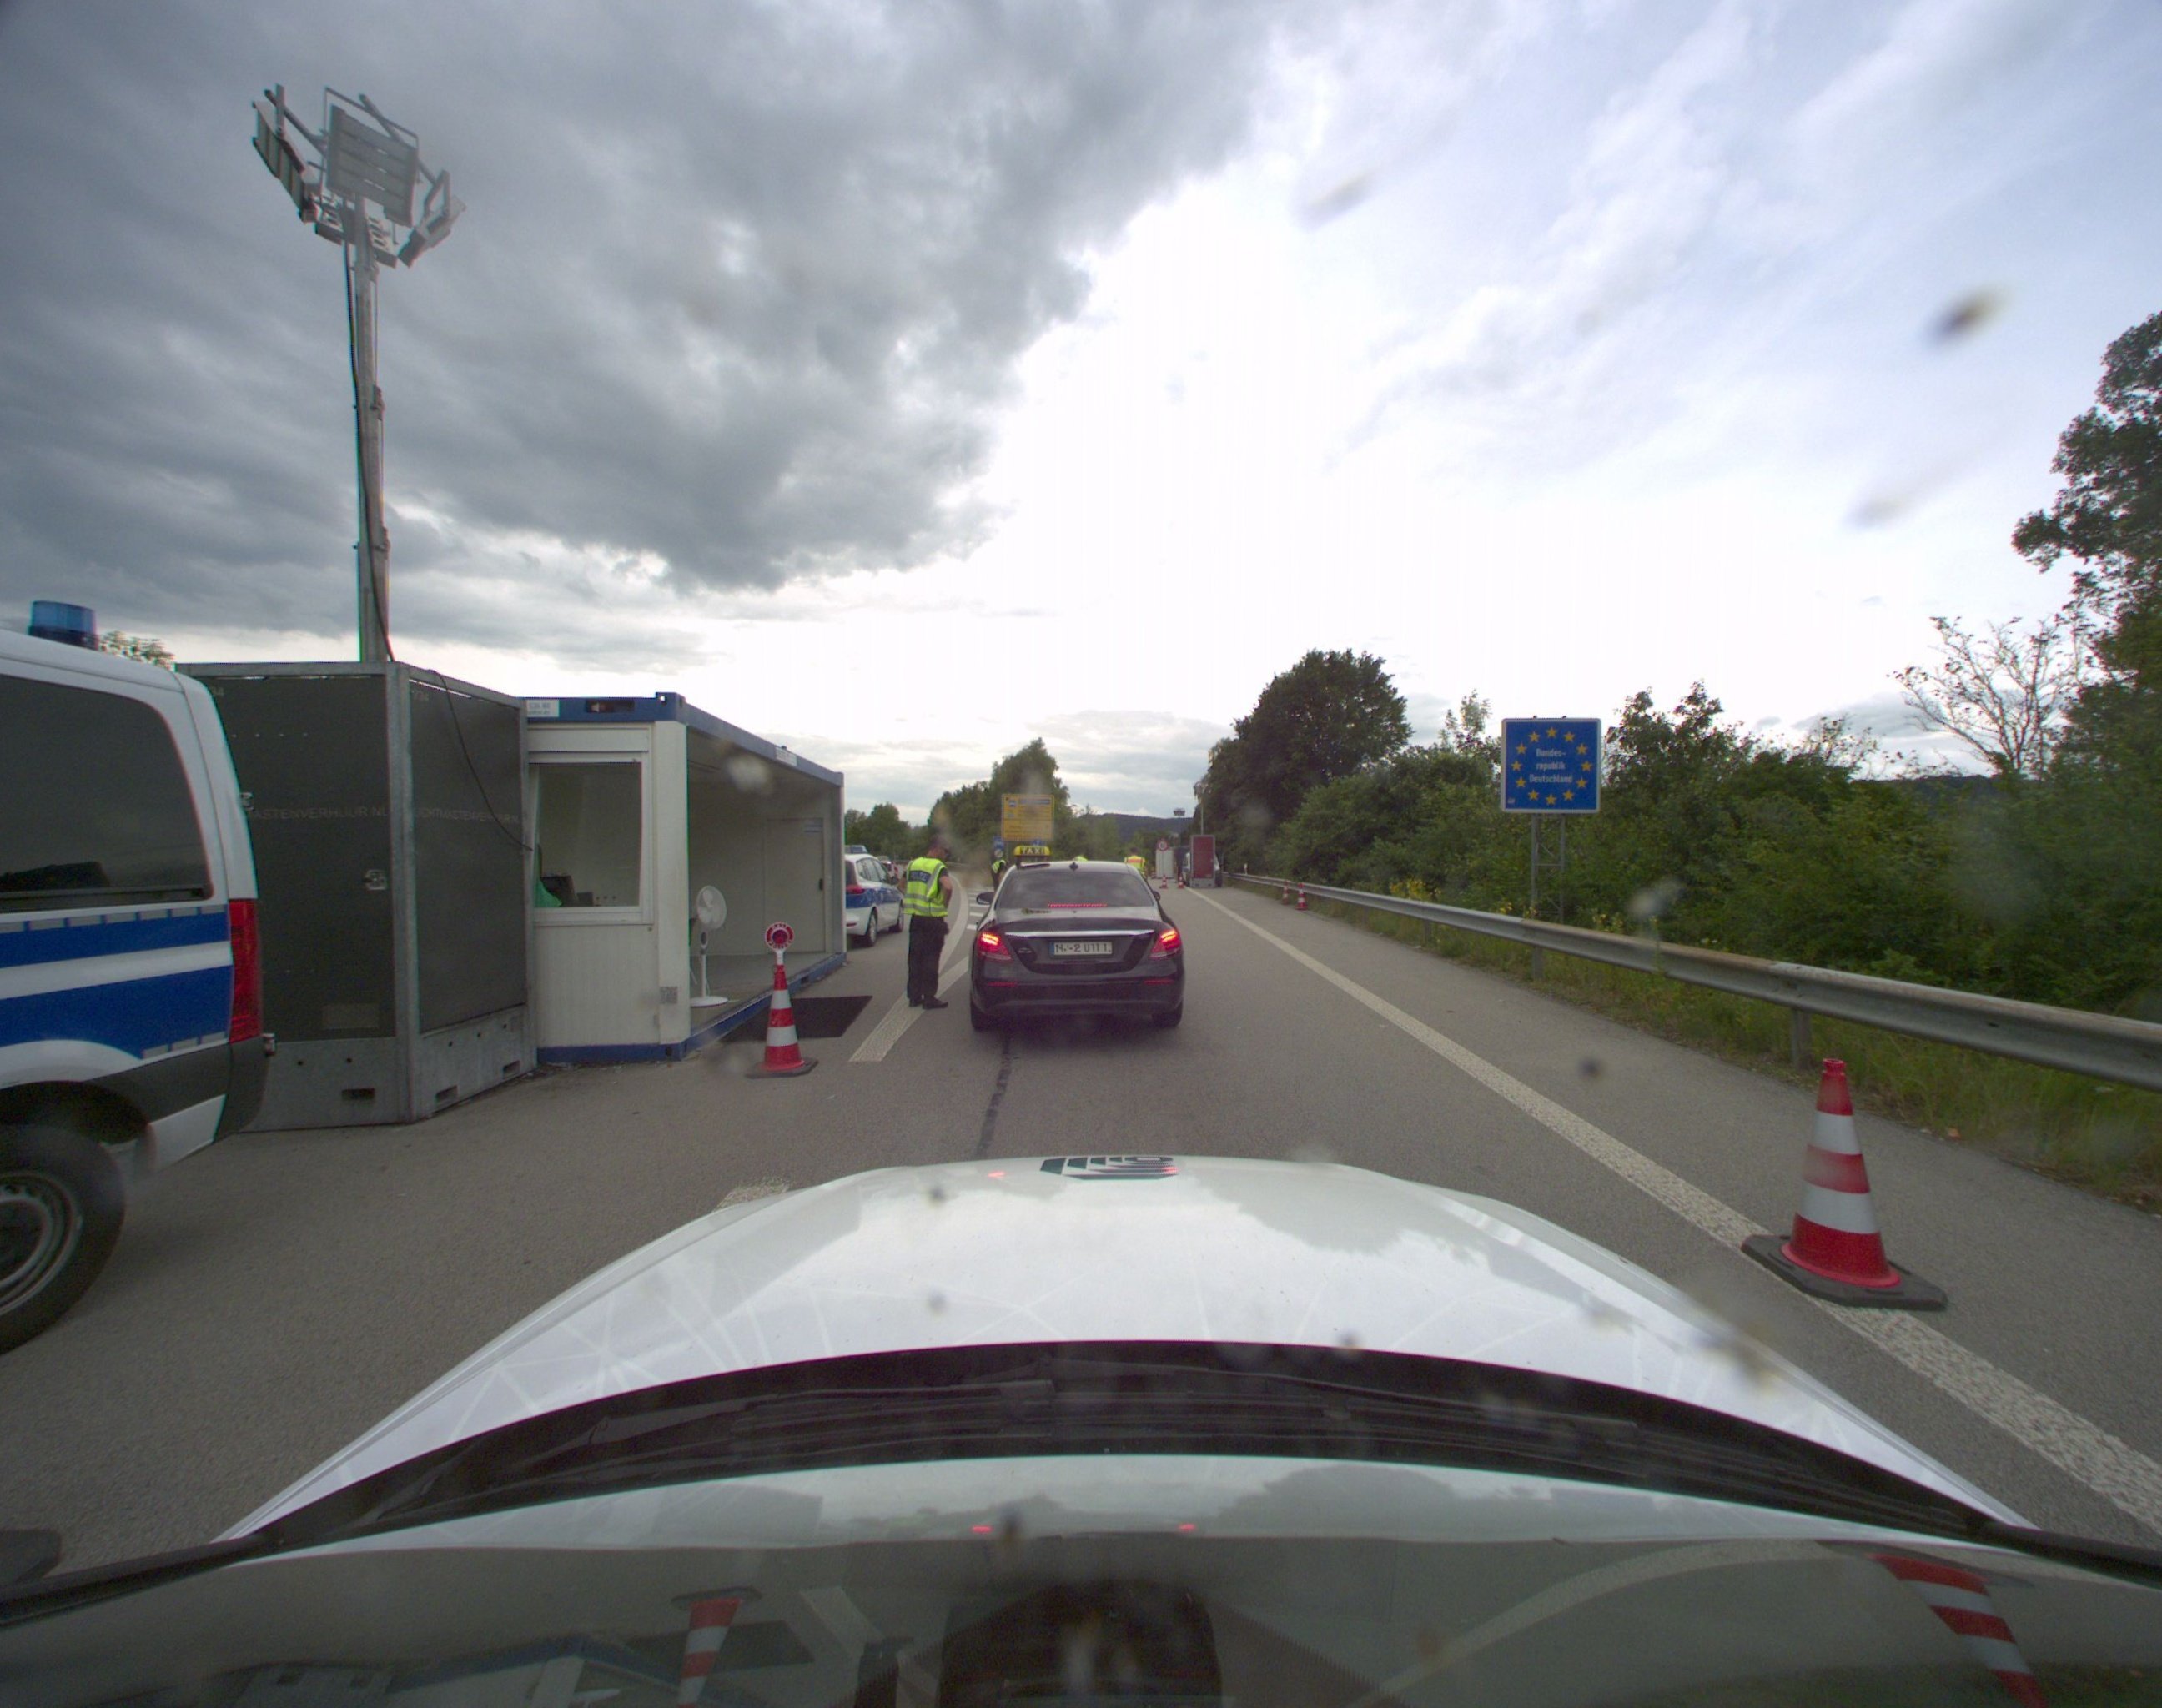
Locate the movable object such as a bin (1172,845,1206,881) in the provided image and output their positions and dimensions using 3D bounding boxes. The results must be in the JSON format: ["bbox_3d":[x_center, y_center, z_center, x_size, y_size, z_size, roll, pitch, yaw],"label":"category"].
[{"bbox_3d":[7.195,0.585,54.619,1.984,2.280,4.172,-1,0,4],"label":"movable object such as a bin"}]

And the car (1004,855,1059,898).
[{"bbox_3d":[-1.809,0.808,30.961,1.850,1.498,4.255,-1,0,-1],"label":"car"}]

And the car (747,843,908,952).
[{"bbox_3d":[-4.543,0.707,15.255,1.864,1.743,4.005,-1,0,-2],"label":"car"}]

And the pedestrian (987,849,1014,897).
[{"bbox_3d":[-3.040,0.701,30.826,0.908,1.769,0.911,-1,0,-1],"label":"pedestrian"}]

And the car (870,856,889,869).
[{"bbox_3d":[-22.931,0.970,92.689,1.860,1.498,4.232,-1,0,-17],"label":"car"}]

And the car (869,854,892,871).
[{"bbox_3d":[-18.798,0.805,76.591,1.856,1.498,4.240,-1,0,-11],"label":"car"}]

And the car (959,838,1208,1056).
[{"bbox_3d":[-0.076,0.695,8.306,1.851,1.595,4.371,-1,0,-3],"label":"car"}]

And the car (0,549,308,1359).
[{"bbox_3d":[-4.262,0.308,0.806,2.023,2.463,5.276,-1,0,-2],"label":"car"}]

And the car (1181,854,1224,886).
[{"bbox_3d":[6.754,0.862,45.778,1.908,1.678,5.087,1,0,3],"label":"car"}]

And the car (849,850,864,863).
[{"bbox_3d":[-38.801,0.375,140.672,1.863,2.222,4.225,-1,0,-22],"label":"car"}]

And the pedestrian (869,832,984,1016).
[{"bbox_3d":[-1.546,0.660,8.174,0.752,1.718,0.823,-2,-1,39],"label":"pedestrian"}]

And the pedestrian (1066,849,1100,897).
[{"bbox_3d":[0.076,0.685,29.704,0.914,1.698,0.905,0,-1,-30],"label":"pedestrian"}]

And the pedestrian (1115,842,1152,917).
[{"bbox_3d":[1.341,0.632,20.584,0.807,1.830,0.812,-1,-1,9],"label":"pedestrian"}]
